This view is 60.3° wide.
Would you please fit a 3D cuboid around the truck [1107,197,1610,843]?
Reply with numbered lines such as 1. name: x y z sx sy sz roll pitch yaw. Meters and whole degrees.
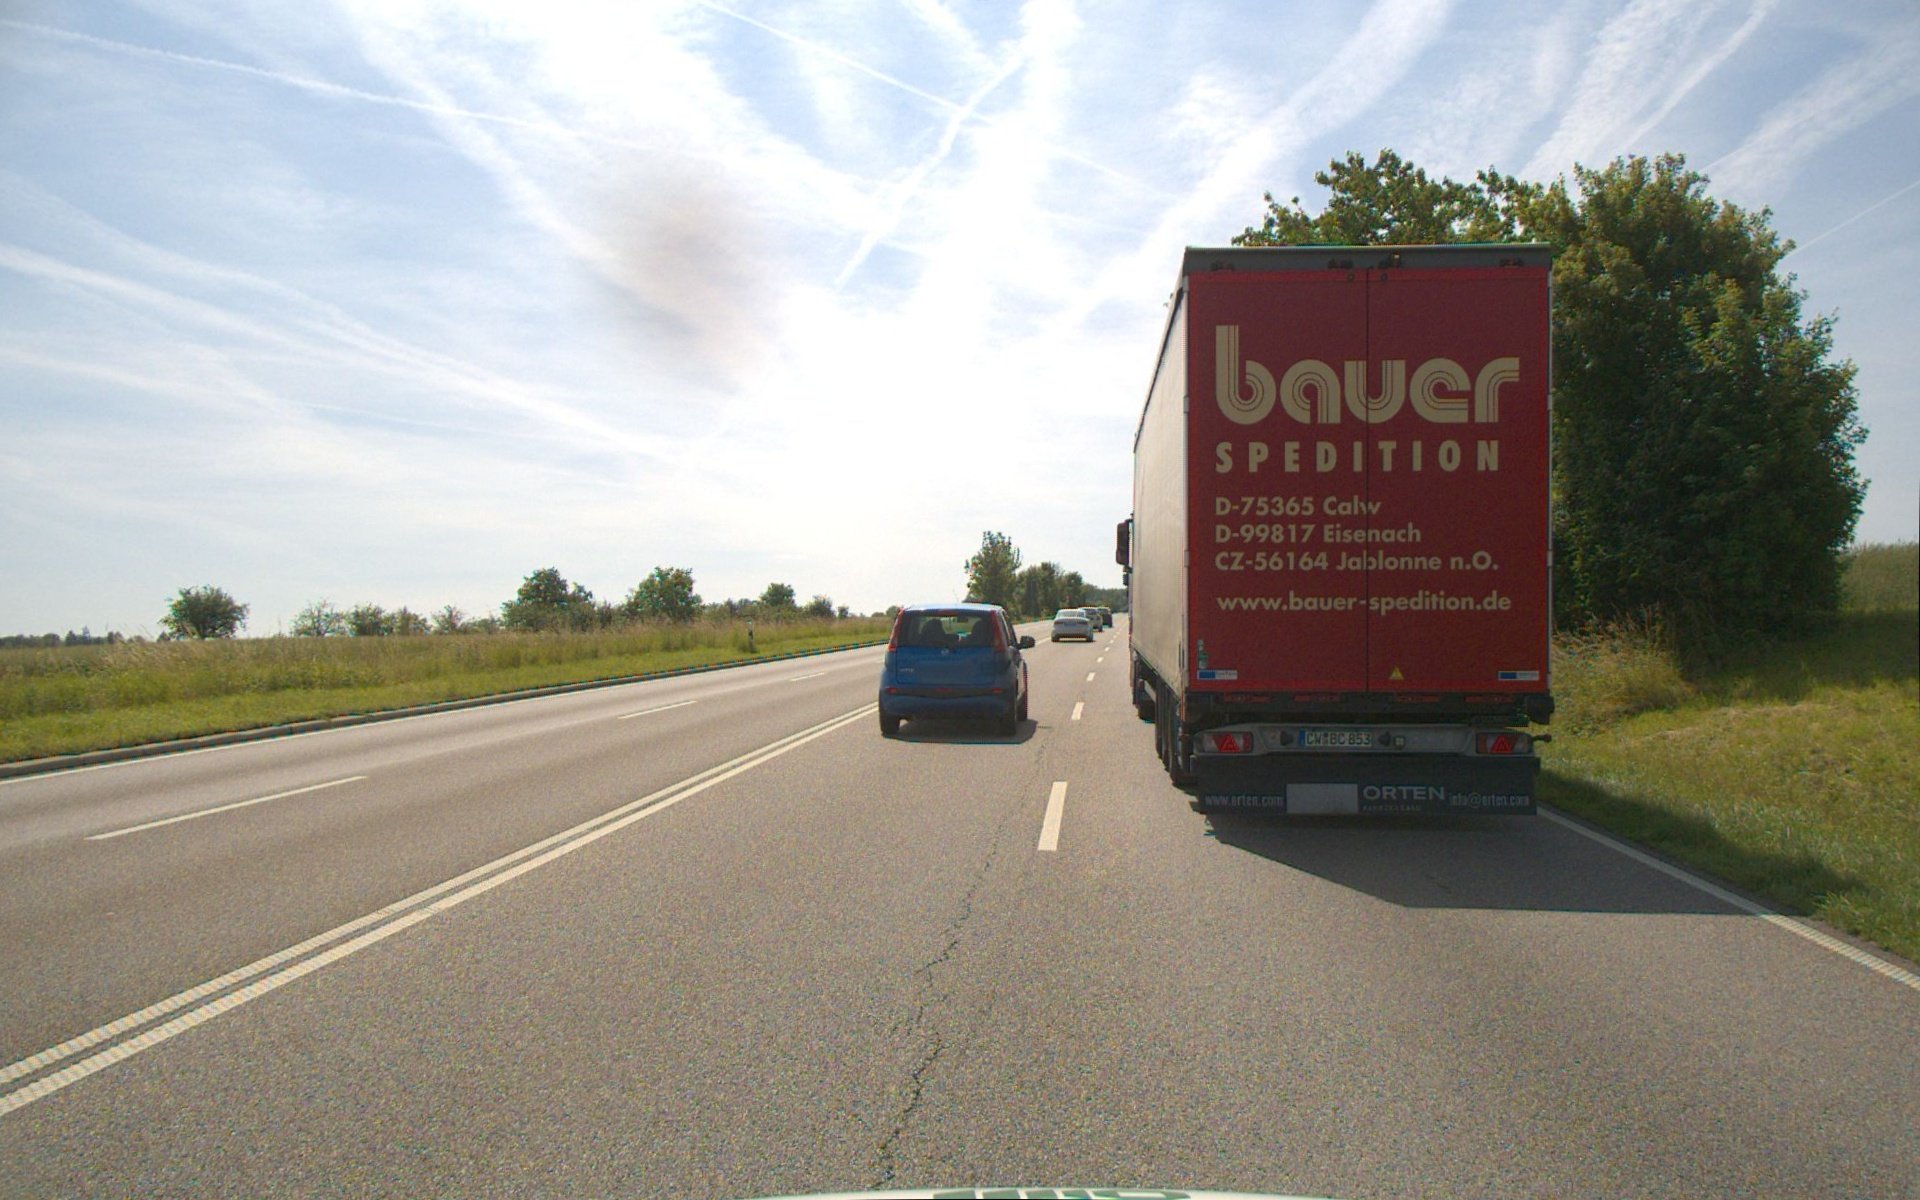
1. truck: 3.368 -0.543 19.311 2.944 4.253 16.722 1 0 4

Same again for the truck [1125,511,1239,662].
1. truck: 6.660 -0.323 51.607 2.982 3.979 15.625 0 0 6

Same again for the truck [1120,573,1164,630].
1. truck: 13.521 0.146 122.975 2.982 3.979 18.409 0 0 6

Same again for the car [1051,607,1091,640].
1. car: 4.942 1.032 73.281 1.667 1.400 4.605 1 0 4

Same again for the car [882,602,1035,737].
1. car: 0.065 0.815 21.096 1.597 1.558 3.917 0 0 5

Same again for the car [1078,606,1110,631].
1. car: 8.284 1.116 102.118 1.782 1.498 4.792 1 0 6
